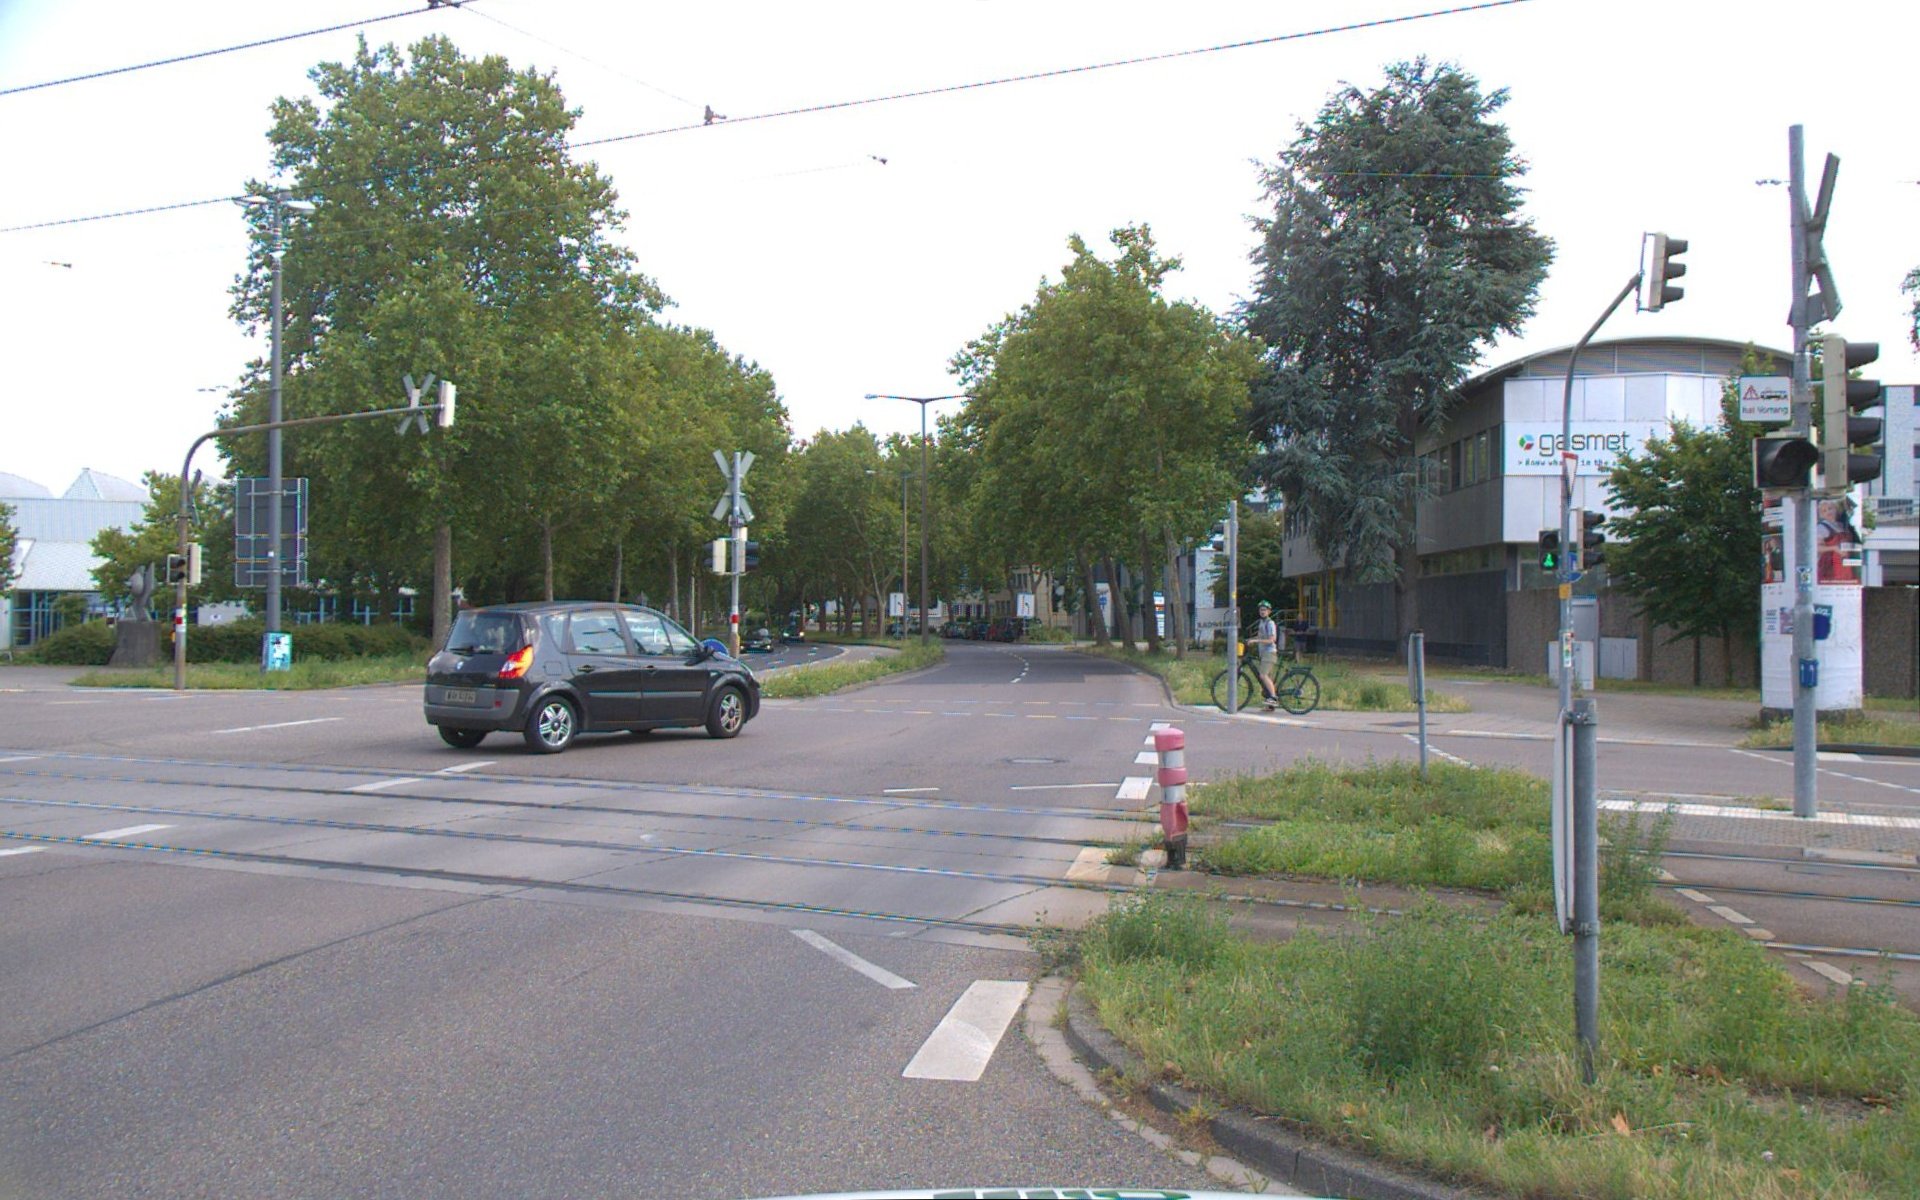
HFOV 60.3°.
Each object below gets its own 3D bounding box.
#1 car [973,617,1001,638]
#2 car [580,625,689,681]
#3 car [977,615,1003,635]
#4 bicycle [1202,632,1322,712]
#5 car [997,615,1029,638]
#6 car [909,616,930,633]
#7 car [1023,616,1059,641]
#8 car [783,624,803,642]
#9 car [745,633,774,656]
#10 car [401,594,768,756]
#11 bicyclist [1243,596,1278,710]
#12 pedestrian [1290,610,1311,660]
[{"bbox_3d":[2.219,2.259,137.412,1.955,1.601,3.996,0,1,-6],"label":"car"},{"bbox_3d":[-8.528,1.357,43.701,1.787,1.388,4.139,0,-1,4],"label":"car"},{"bbox_3d":[2.671,2.255,148.217,1.955,1.601,3.996,0,1,-6],"label":"car"},{"bbox_3d":[4.979,1.172,27.230,1.904,1.257,0.541,0,1,15],"label":"bicycle"},{"bbox_3d":[4.124,2.055,129.181,1.955,1.601,3.996,0,1,-6],"label":"car"},{"bbox_3d":[-4.369,2.606,176.929,1.955,1.601,3.996,0,1,-6],"label":"car"},{"bbox_3d":[5.735,2.000,117.327,1.955,1.601,3.996,0,1,-6],"label":"car"},{"bbox_3d":[-13.690,2.709,135.664,1.624,1.293,3.766,0,1,-6],"label":"car"},{"bbox_3d":[-11.359,2.496,93.493,1.604,1.212,3.702,0,-1,-8],"label":"car"},{"bbox_3d":[-4.208,0.796,19.105,1.701,1.659,4.038,0,-1,35],"label":"car"},{"bbox_3d":[4.953,0.864,27.237,0.531,1.841,0.541,0,1,15],"label":"bicyclist"},{"bbox_3d":[10.975,1.130,53.319,0.607,1.597,0.560,0,1,5],"label":"pedestrian"}]
